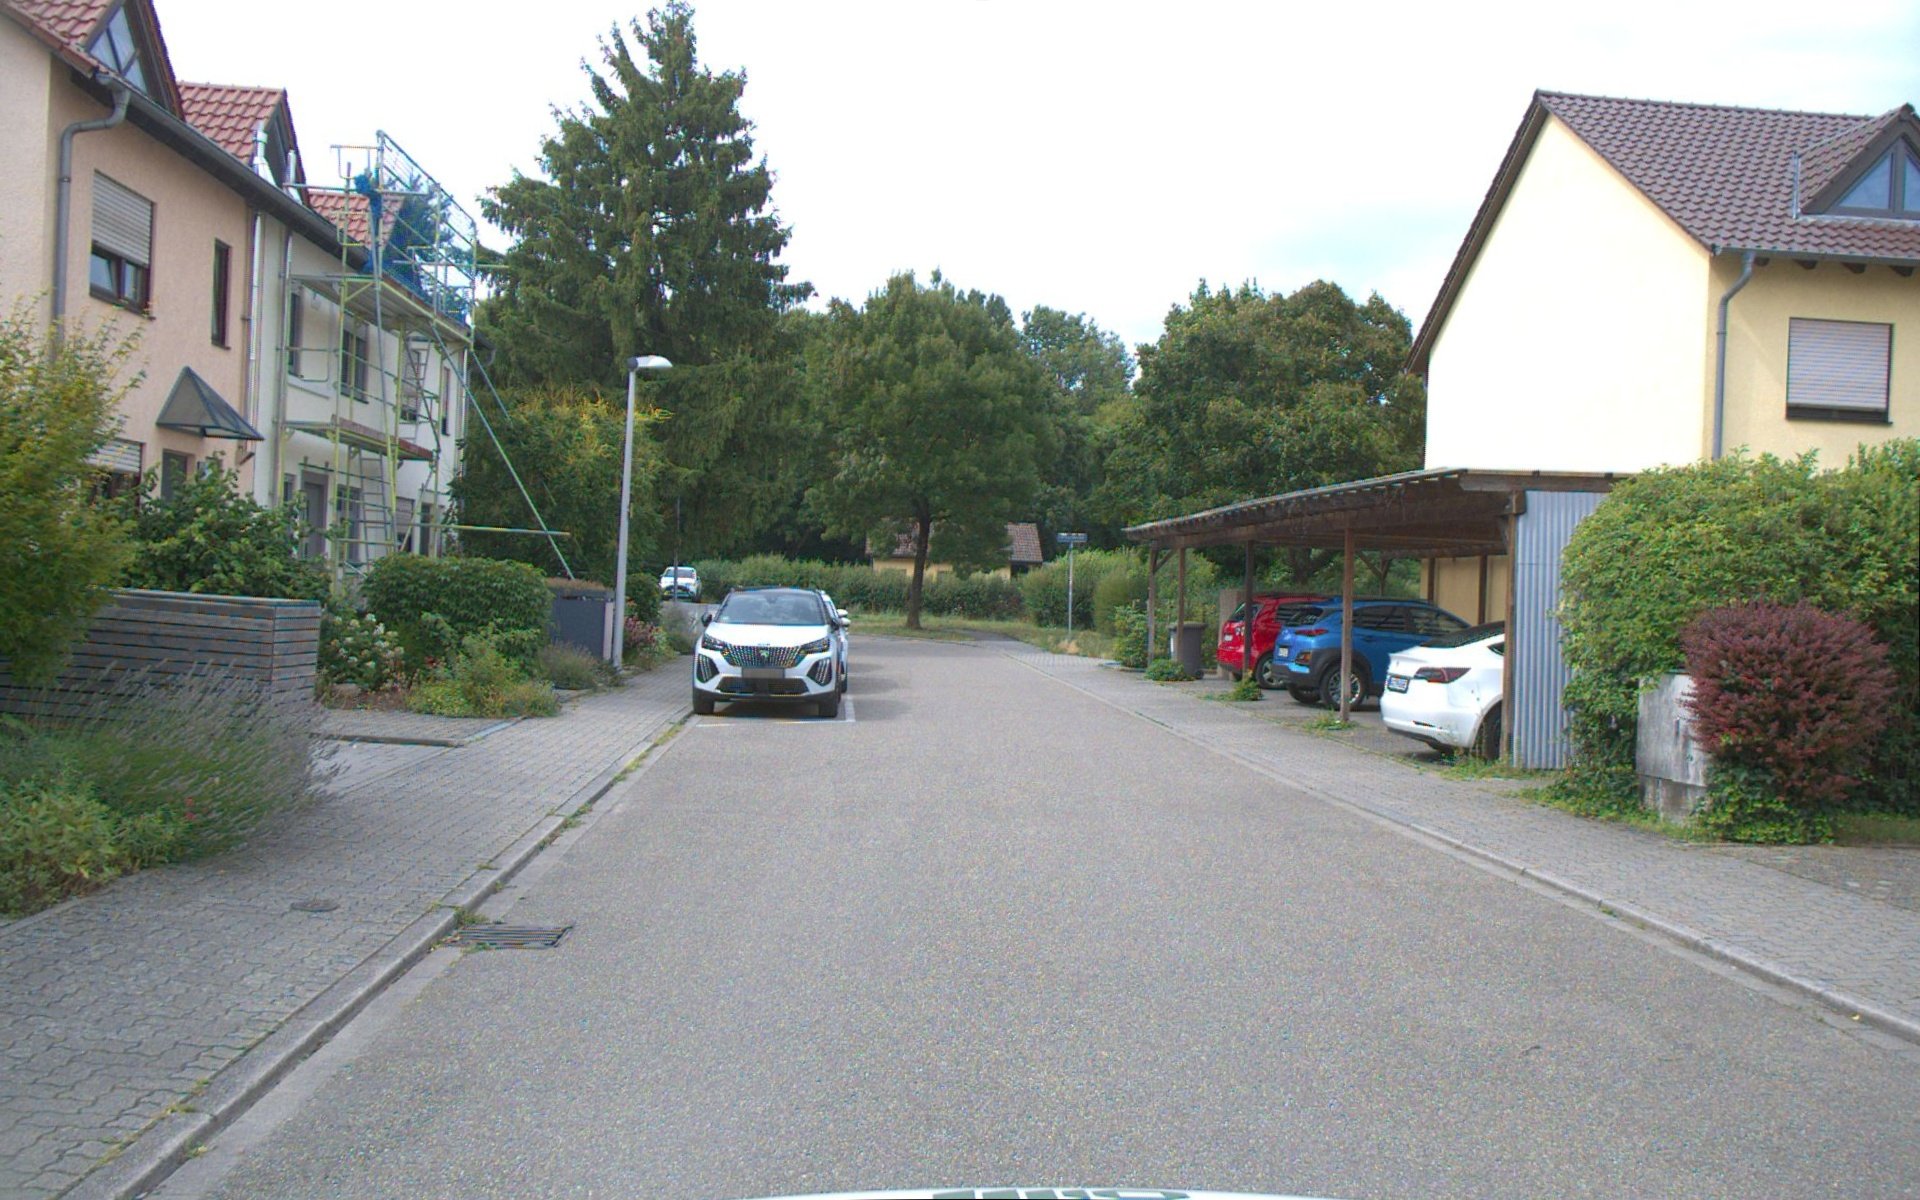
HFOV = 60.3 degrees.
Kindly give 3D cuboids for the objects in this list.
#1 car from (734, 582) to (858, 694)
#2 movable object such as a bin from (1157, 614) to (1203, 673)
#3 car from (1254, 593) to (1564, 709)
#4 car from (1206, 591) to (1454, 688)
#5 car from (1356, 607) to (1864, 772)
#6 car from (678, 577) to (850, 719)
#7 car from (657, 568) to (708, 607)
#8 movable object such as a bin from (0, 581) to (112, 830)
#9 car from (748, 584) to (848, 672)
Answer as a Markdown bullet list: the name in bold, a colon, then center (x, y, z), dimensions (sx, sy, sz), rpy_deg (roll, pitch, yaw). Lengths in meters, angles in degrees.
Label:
- **car**: center (-2.595, 0.538, 26.740), dimensions (1.774, 1.589, 4.844), rpy_deg (2, 0, -4)
- **movable object such as a bin**: center (4.183, 0.819, 31.475), dimensions (0.685, 1.091, 0.710), rpy_deg (1, 0, -7)
- **car**: center (6.557, 0.725, 24.395), dimensions (3.969, 1.549, 1.947), rpy_deg (2, 0, -7)
- **car**: center (6.508, 0.678, 29.323), dimensions (3.882, 1.567, 1.837), rpy_deg (2, 0, -7)
- **car**: center (6.500, 0.875, 16.834), dimensions (4.364, 1.458, 2.025), rpy_deg (2, 0, -6)
- **car**: center (-2.408, 0.534, 21.343), dimensions (1.896, 1.583, 4.631), rpy_deg (2, 0, -4)
- **car**: center (-12.940, -0.590, 77.325), dimensions (1.899, 1.689, 4.337), rpy_deg (2, 0, -4)
- **movable object such as a bin**: center (-5.524, 0.562, 9.377), dimensions (0.931, 1.335, 1.000), rpy_deg (1, 0, -5)
- **car**: center (-3.082, 0.500, 32.174), dimensions (1.756, 1.558, 4.137), rpy_deg (2, 0, -4)
